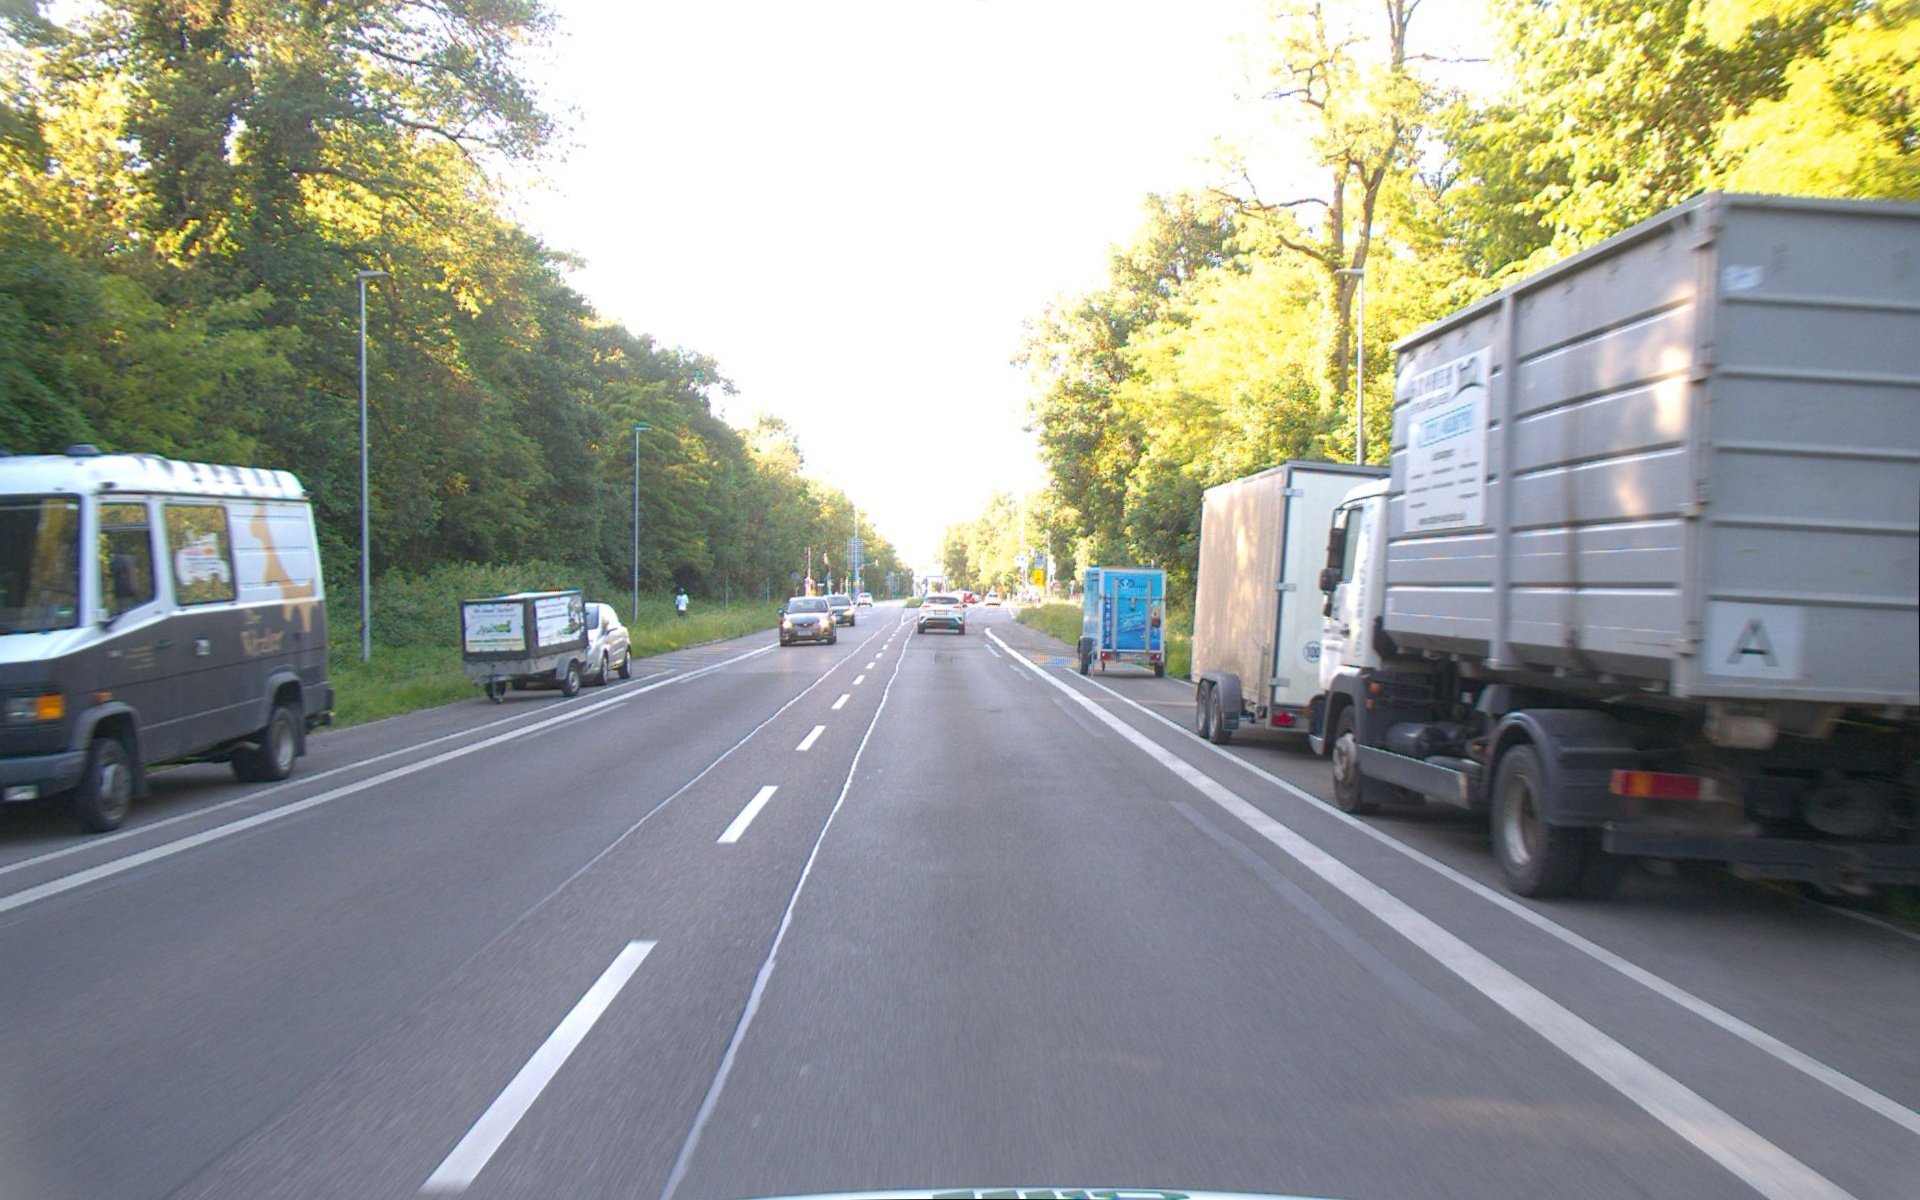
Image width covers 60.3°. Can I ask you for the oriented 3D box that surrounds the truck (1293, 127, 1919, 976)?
[{"bbox_3d":[4.060,-0.181,10.271,2.454,3.425,7.106,1,0,-1],"label":"truck"}]

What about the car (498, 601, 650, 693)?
[{"bbox_3d":[-7.157,0.823,31.061,1.830,1.489,4.132,-3,0,-1],"label":"car"}]

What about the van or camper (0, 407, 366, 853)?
[{"bbox_3d":[-6.912,0.222,13.267,2.255,2.816,5.556,-3,0,-1],"label":"van or camper"}]

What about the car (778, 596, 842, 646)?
[{"bbox_3d":[-4.578,0.618,50.997,1.644,1.440,3.999,-1,0,-1],"label":"car"}]

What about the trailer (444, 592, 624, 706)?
[{"bbox_3d":[-6.757,0.741,26.554,1.439,1.688,3.368,-2,0,11],"label":"trailer"}]

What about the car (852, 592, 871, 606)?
[{"bbox_3d":[-11.152,-0.132,188.093,1.953,1.489,3.999,1,0,-1],"label":"car"}]

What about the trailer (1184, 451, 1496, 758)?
[{"bbox_3d":[3.988,0.033,18.437,2.226,2.894,5.206,1,0,0],"label":"trailer"}]

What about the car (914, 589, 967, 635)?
[{"bbox_3d":[-0.759,0.437,63.075,1.953,1.668,3.999,0,0,-1],"label":"car"}]

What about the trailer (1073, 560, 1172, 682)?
[{"bbox_3d":[3.239,0.383,33.662,1.469,2.274,4.549,1,0,-1],"label":"trailer"}]

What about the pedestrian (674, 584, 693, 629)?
[{"bbox_3d":[-12.662,0.292,75.718,0.679,2.049,0.712,1,0,0],"label":"pedestrian"}]

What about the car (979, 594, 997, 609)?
[{"bbox_3d":[3.234,0.130,190.242,1.953,1.646,4.000,1,0,0],"label":"car"}]

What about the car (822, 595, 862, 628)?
[{"bbox_3d":[-5.630,0.544,79.355,1.644,1.516,4.689,-1,0,-1],"label":"car"}]
